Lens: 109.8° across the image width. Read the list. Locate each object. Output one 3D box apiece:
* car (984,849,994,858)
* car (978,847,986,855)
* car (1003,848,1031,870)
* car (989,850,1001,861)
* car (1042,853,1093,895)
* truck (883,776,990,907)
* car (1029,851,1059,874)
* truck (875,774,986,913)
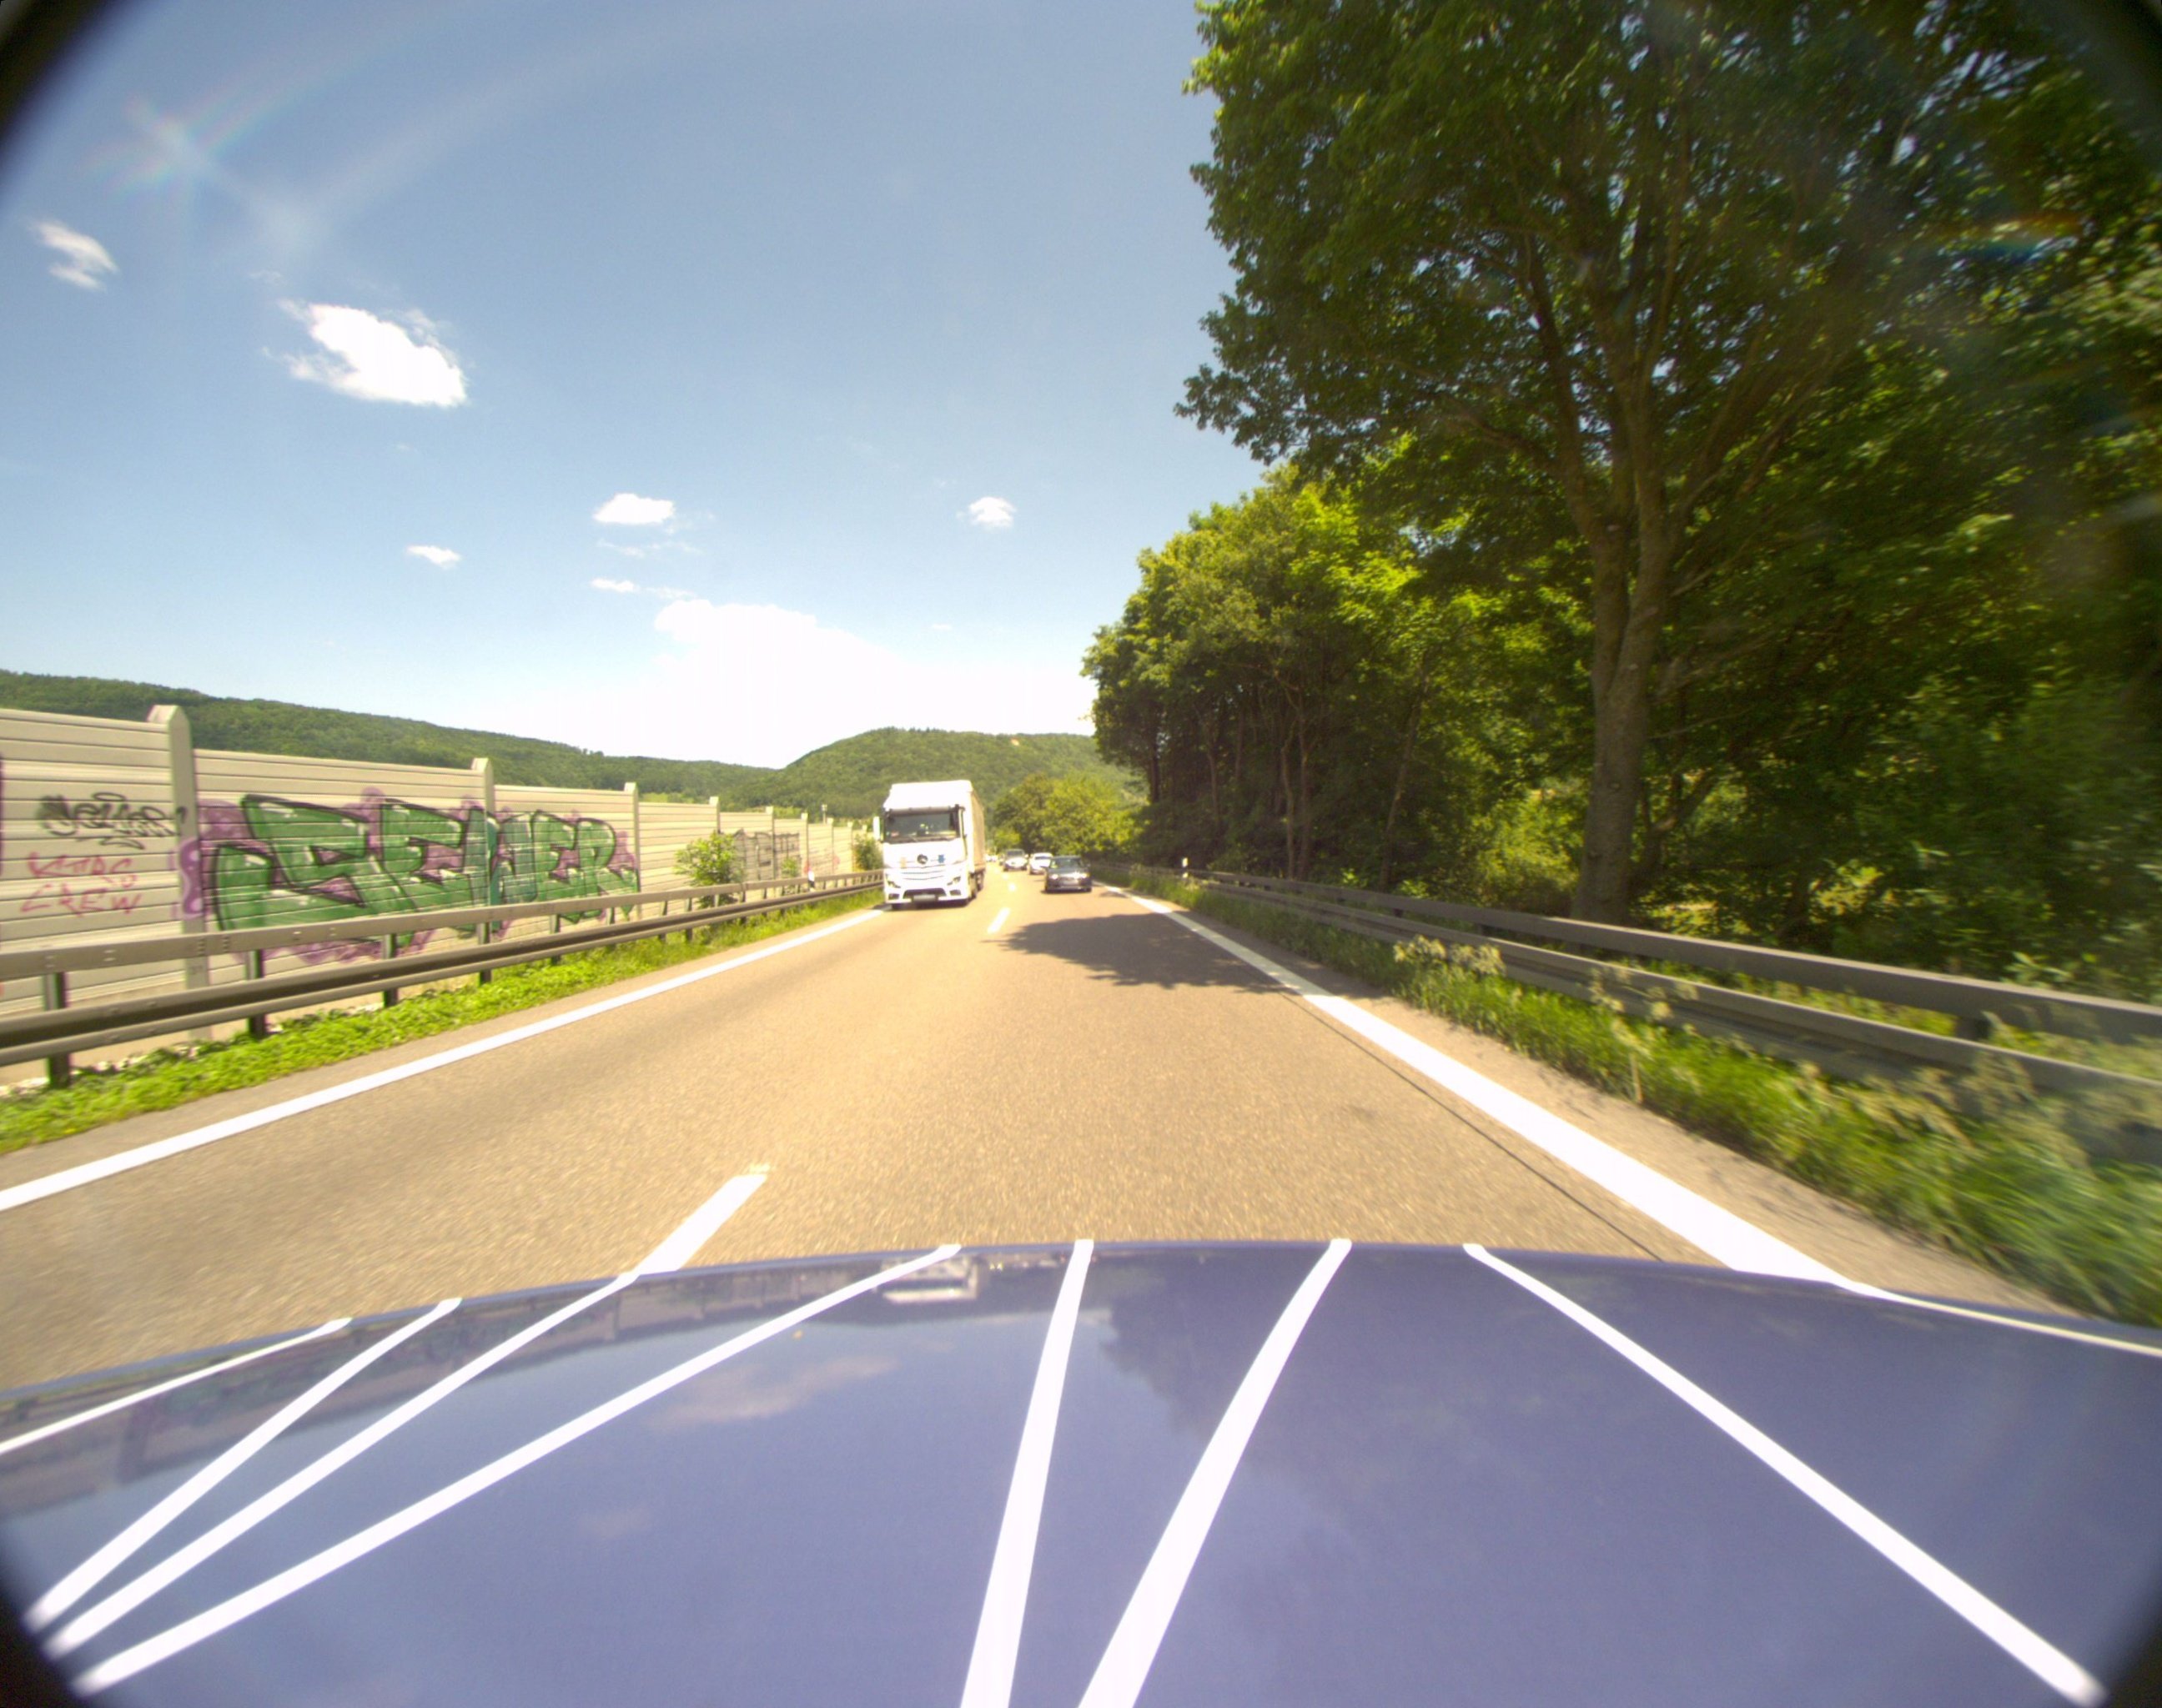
[{"bbox_3d":[-19.416,-0.124,159.889,2.000,2.002,3.997,-1,0,-6],"label":"car"},{"bbox_3d":[-25.544,-0.665,196.555,2.000,2.002,3.997,-1,0,-7],"label":"car"},{"bbox_3d":[-5.712,0.453,67.174,2.045,1.855,3.997,-1,0,-10],"label":"car"},{"bbox_3d":[-15.504,0.222,136.487,2.000,2.002,3.997,-1,0,-7],"label":"car"},{"bbox_3d":[-0.571,0.714,29.322,1.663,1.436,3.473,-2,1,-5],"label":"car"},{"bbox_3d":[-5.426,-0.414,30.821,2.863,4.123,12.041,-3,0,-5],"label":"truck"},{"bbox_3d":[-2.675,0.597,54.353,1.716,1.541,3.996,0,1,-9],"label":"car"},{"bbox_3d":[-4.877,-0.333,25.908,2.765,4.015,6.820,-2,1,-4],"label":"truck"}]
